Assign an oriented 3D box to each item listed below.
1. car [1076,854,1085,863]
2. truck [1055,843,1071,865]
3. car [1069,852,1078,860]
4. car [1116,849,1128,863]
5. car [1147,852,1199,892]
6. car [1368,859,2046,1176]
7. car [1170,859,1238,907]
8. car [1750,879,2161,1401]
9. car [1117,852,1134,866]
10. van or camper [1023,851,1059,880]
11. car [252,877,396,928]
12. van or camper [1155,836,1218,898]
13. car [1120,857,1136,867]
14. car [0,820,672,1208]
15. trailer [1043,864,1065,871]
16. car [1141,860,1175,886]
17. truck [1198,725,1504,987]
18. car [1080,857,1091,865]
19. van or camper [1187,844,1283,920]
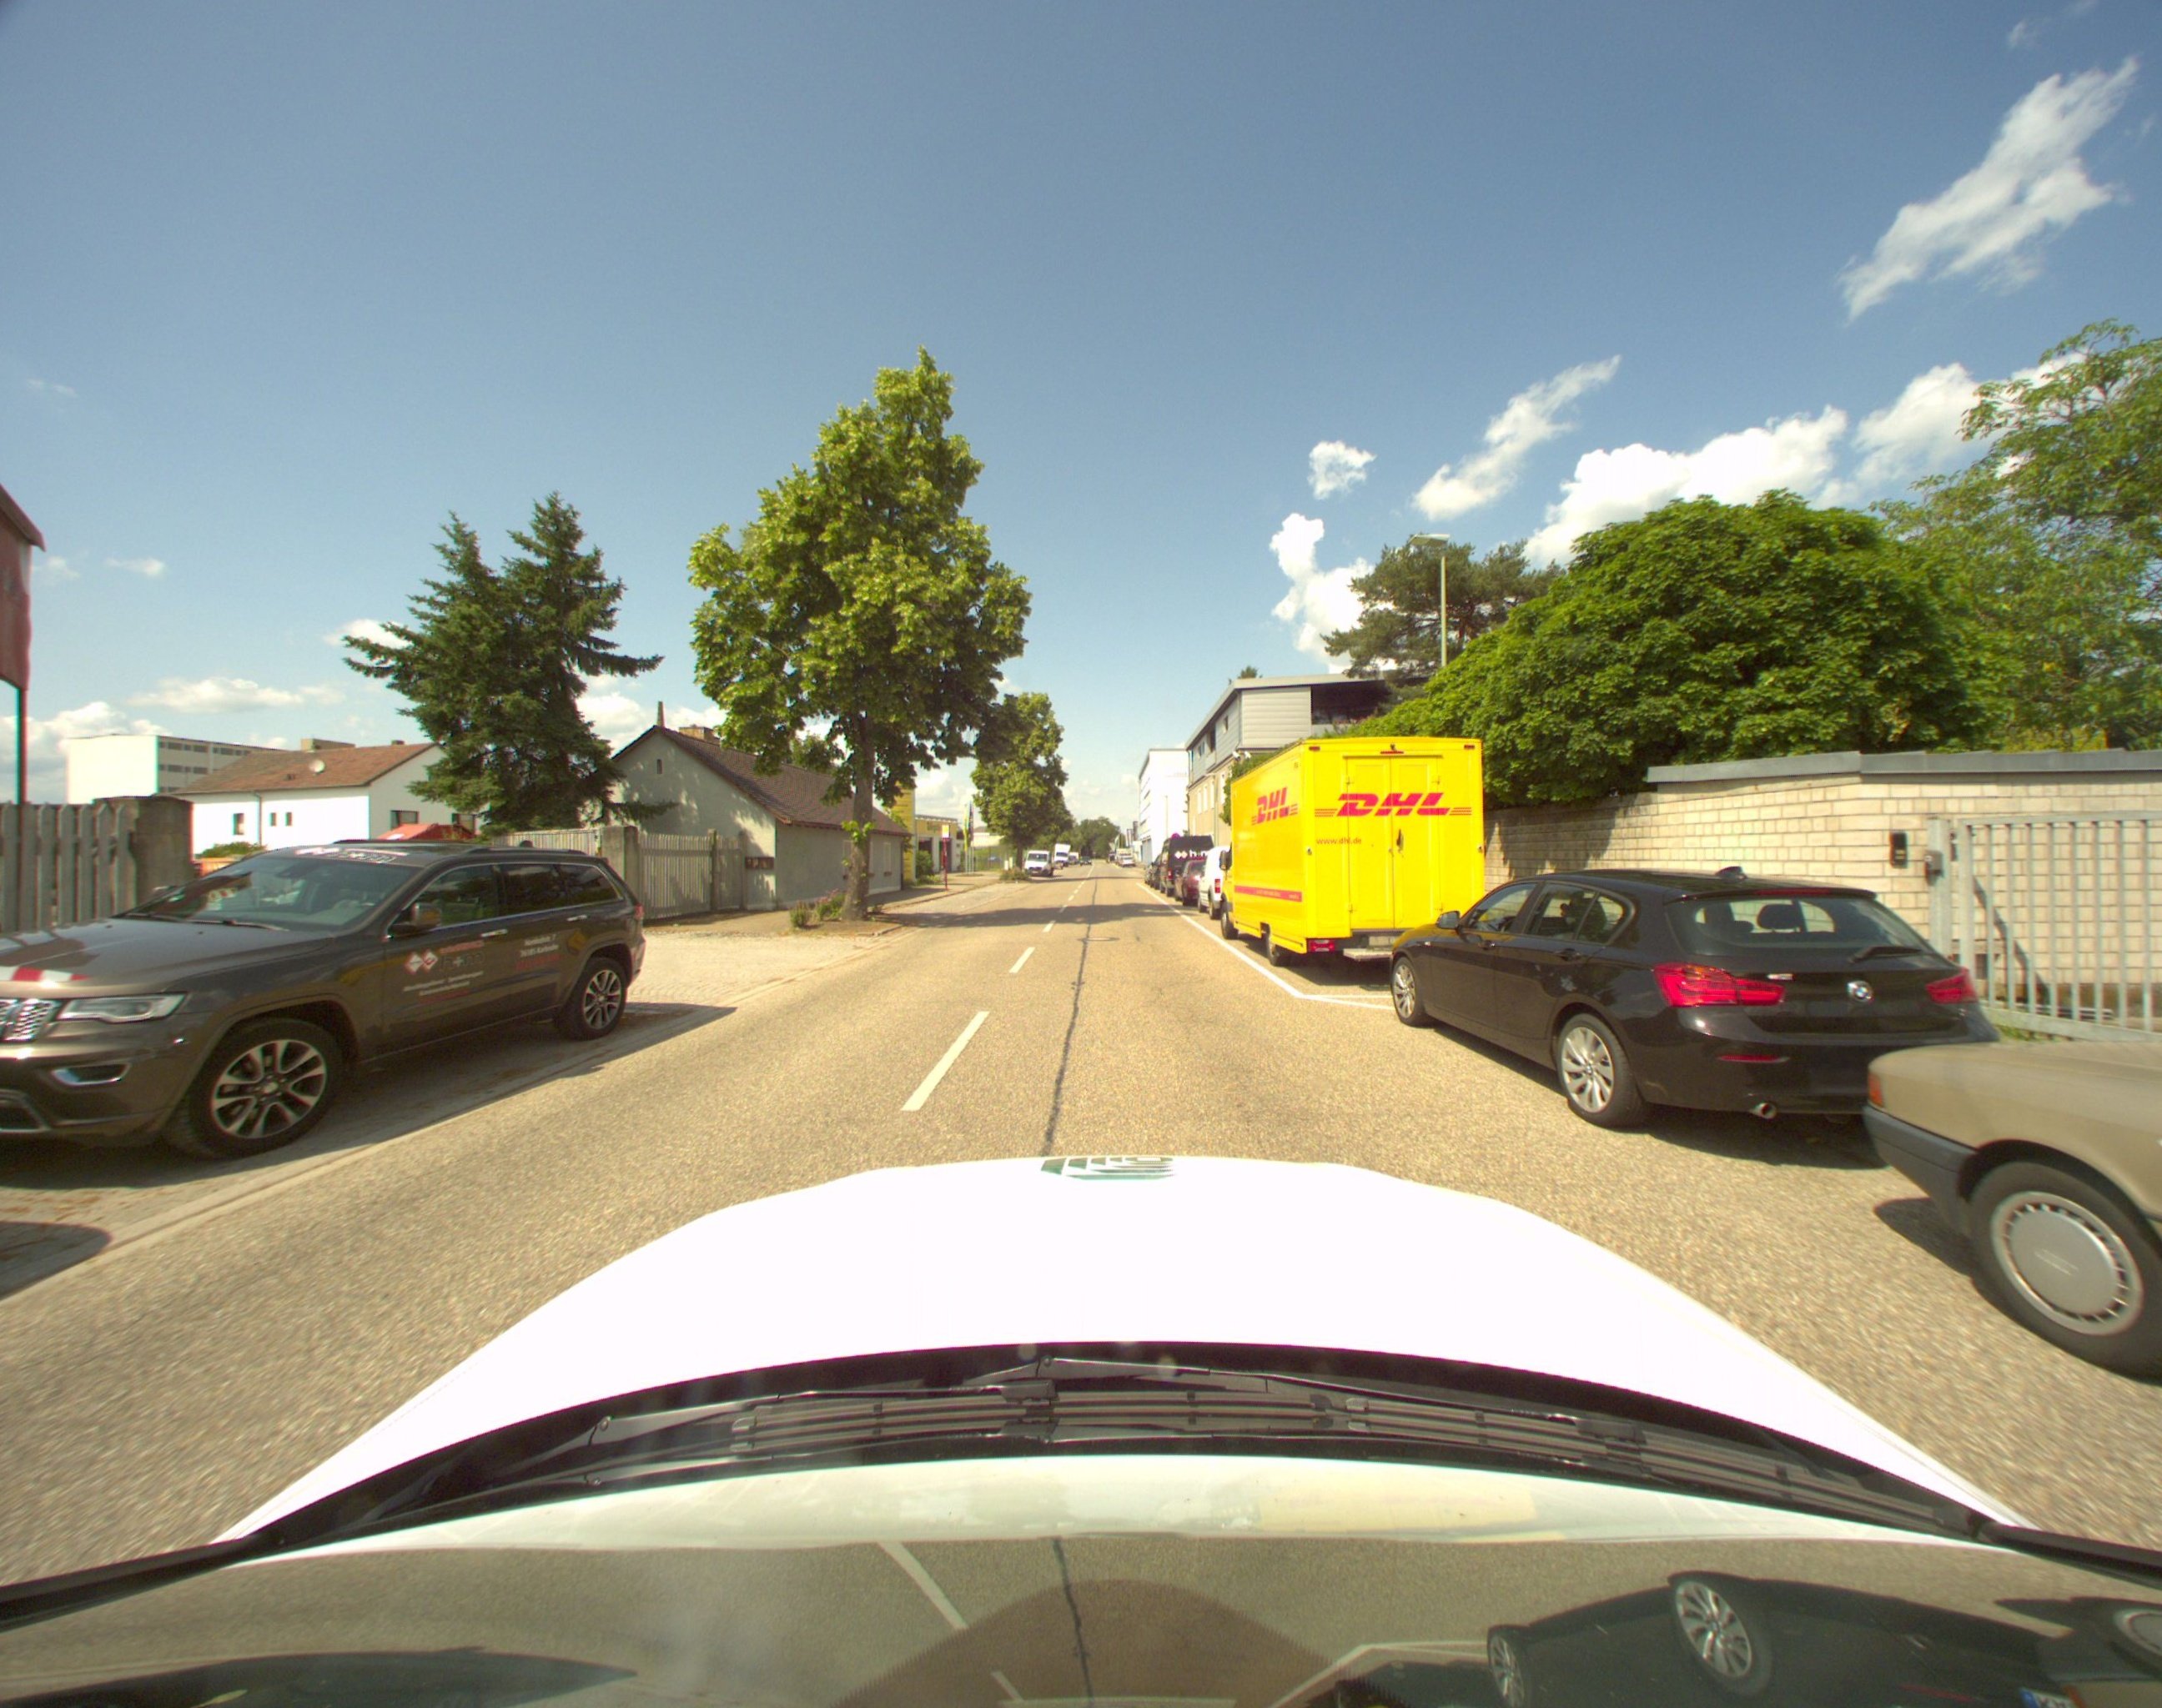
[{"bbox_3d":[-0.066,0.934,157.903,1.707,1.650,4.001,-1,0,1],"label":"car"},{"bbox_3d":[-2.567,0.009,117.235,2.022,3.154,6.502,-1,0,2],"label":"truck"},{"bbox_3d":[-1.724,0.439,195.529,1.986,1.816,4.001,-1,0,2],"label":"car"},{"bbox_3d":[6.483,0.354,129.326,1.701,2.090,4.000,-1,0,1],"label":"car"},{"bbox_3d":[4.364,0.831,39.284,1.954,1.780,4.954,1,0,0],"label":"car"},{"bbox_3d":[3.686,0.772,5.950,1.657,1.441,4.282,-1,0,0],"label":"car"},{"bbox_3d":[4.014,0.901,27.194,1.675,1.442,4.768,0,0,1],"label":"car"},{"bbox_3d":[3.759,0.807,1.435,1.645,1.387,4.424,0,0,2],"label":"car"},{"bbox_3d":[6.465,0.678,119.012,2.208,2.013,5.487,-1,0,2],"label":"car"},{"bbox_3d":[-3.517,0.979,72.871,2.163,2.413,7.707,-1,0,5],"label":"van or camper"},{"bbox_3d":[-23.032,1.473,24.778,3.951,1.416,1.791,-2,-1,24],"label":"car"},{"bbox_3d":[4.222,0.494,33.320,1.986,2.291,5.449,1,0,1],"label":"van or camper"},{"bbox_3d":[6.063,1.036,105.124,1.921,1.310,4.001,-1,0,1],"label":"car"},{"bbox_3d":[-5.419,0.770,6.259,1.911,1.822,4.789,-1,0,3],"label":"car"},{"bbox_3d":[-3.330,1.677,103.062,2.408,0.813,5.539,1,0,2],"label":"trailer"},{"bbox_3d":[4.326,1.041,46.115,1.623,1.353,3.925,-1,0,1],"label":"car"},{"bbox_3d":[3.571,0.033,12.796,2.466,2.940,7.188,1,0,0],"label":"truck"},{"bbox_3d":[0.757,1.155,131.811,1.648,1.324,4.418,-1,0,2],"label":"car"},{"bbox_3d":[4.008,0.680,22.052,1.752,1.805,5.590,0,0,2],"label":"van or camper"}]
